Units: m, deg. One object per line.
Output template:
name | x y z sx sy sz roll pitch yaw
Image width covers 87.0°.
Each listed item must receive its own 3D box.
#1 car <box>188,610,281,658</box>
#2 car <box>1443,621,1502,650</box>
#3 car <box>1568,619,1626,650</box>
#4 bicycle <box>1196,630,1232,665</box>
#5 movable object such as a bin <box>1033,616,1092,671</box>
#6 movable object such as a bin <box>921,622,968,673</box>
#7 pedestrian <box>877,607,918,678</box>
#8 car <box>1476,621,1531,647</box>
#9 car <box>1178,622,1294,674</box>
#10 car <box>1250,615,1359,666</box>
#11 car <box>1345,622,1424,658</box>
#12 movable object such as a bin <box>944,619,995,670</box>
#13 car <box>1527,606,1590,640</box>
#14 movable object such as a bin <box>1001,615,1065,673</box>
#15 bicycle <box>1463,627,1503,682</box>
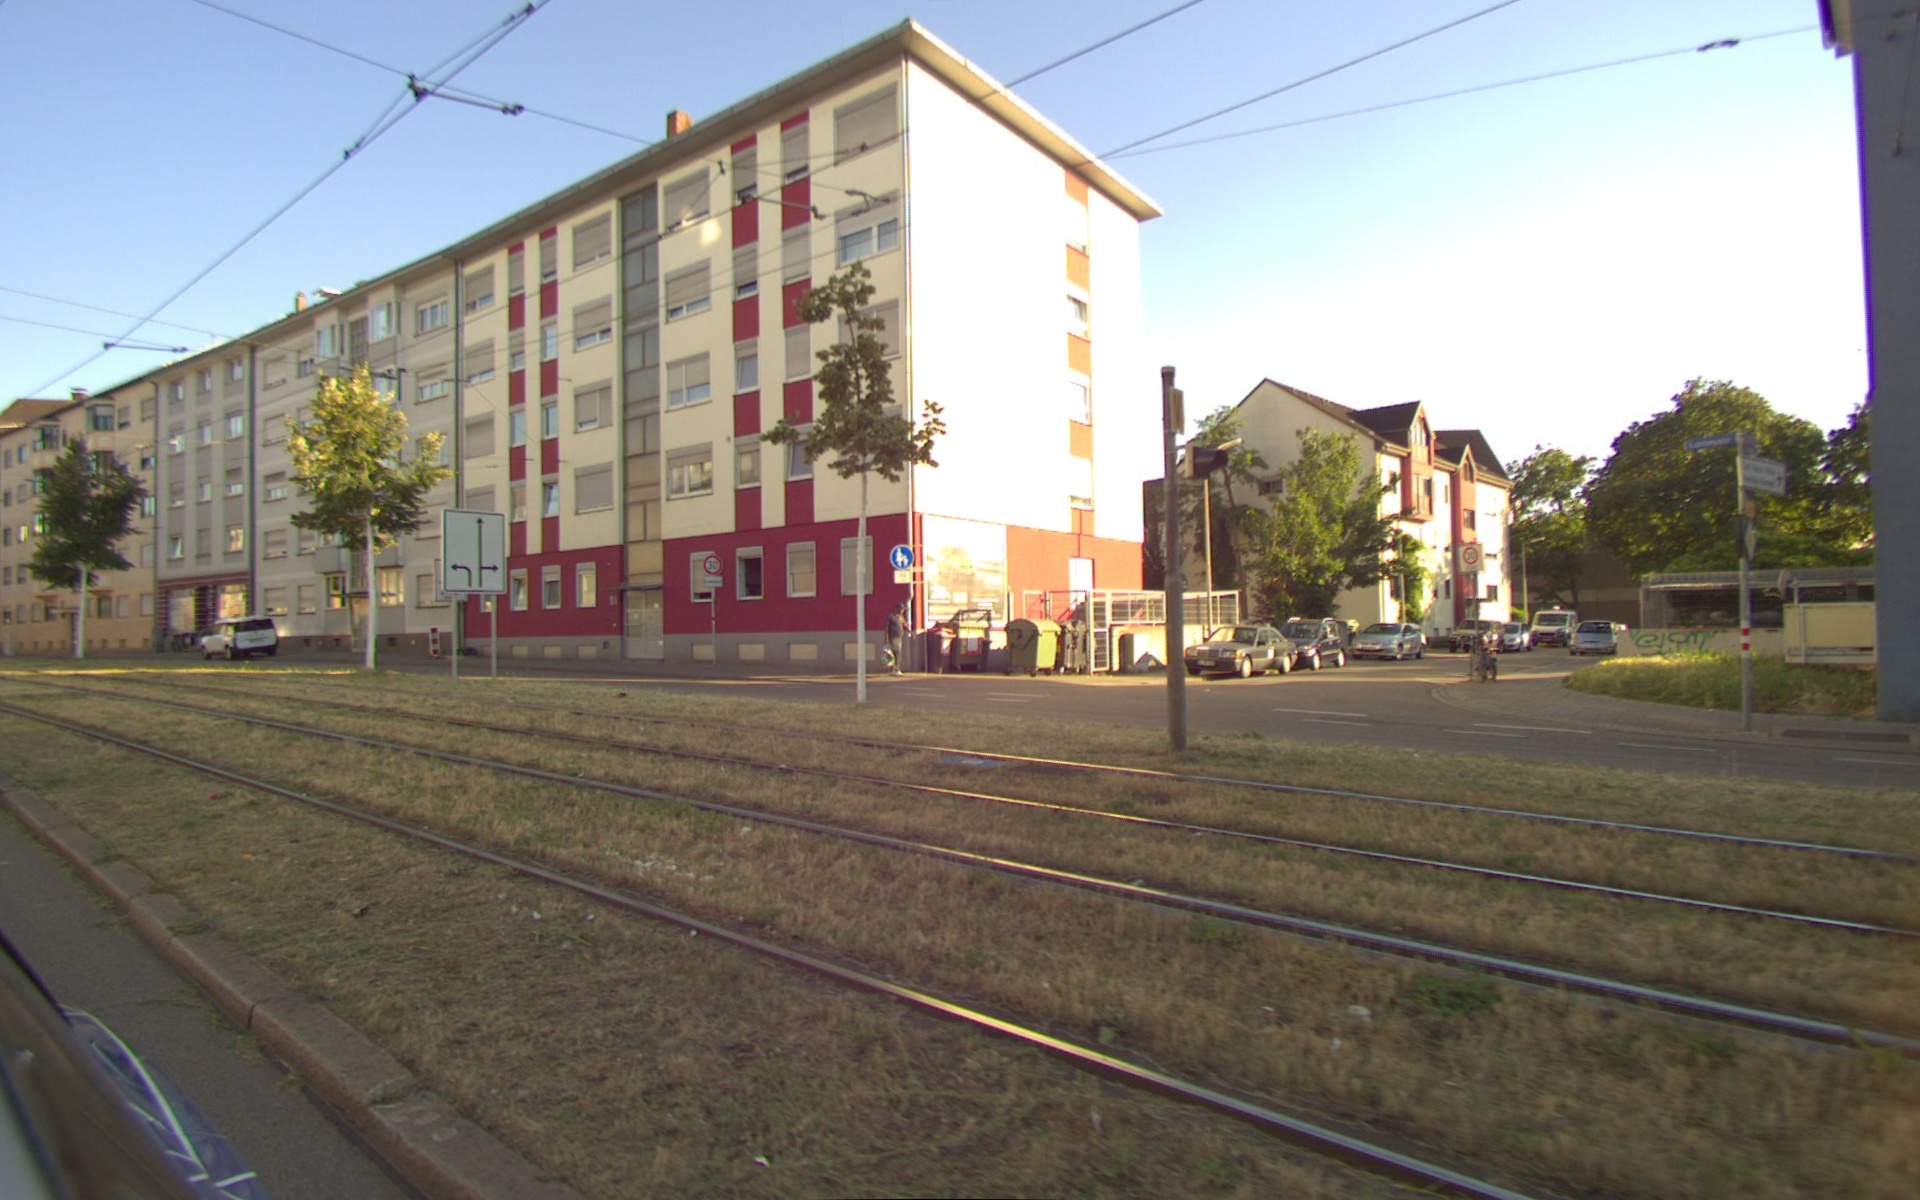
car | -32.272 1.481 44.966 4.410 1.842 1.852 -1 4 34
car | 25.608 1.750 50.561 1.701 1.370 3.790 -2 -2 42
car | 28.570 1.528 45.349 1.643 1.342 3.945 -1 -2 41
bicycle | 7.970 1.481 31.736 0.457 1.068 1.919 -1 -3 34
movable object such as a bin | 2.717 1.133 26.781 1.106 1.426 1.205 -1 -2 38
movable object such as a bin | -0.387 1.180 25.476 0.805 1.235 0.858 -1 -2 38
pedestrian | -1.515 1.022 24.516 0.790 1.702 0.608 -2 -2 37
car | 29.235 1.816 54.370 1.702 1.370 3.789 -2 -2 43
car | 7.619 1.276 27.747 1.700 1.304 3.824 -2 -2 39
car | 10.889 1.228 31.865 1.898 1.519 3.946 -1 -2 41
car | 16.217 1.487 38.579 1.701 1.314 3.513 -2 -2 42
movable object such as a bin | 0.264 1.153 26.372 0.805 1.296 1.147 -1 -2 38
car | 36.905 1.411 62.321 5.625 1.993 1.960 1 -2 -45
movable object such as a bin | 1.848 1.088 25.642 1.137 1.426 1.205 -1 -2 38
bicycle | 11.290 1.155 21.881 0.600 1.084 1.945 -5 -3 25
